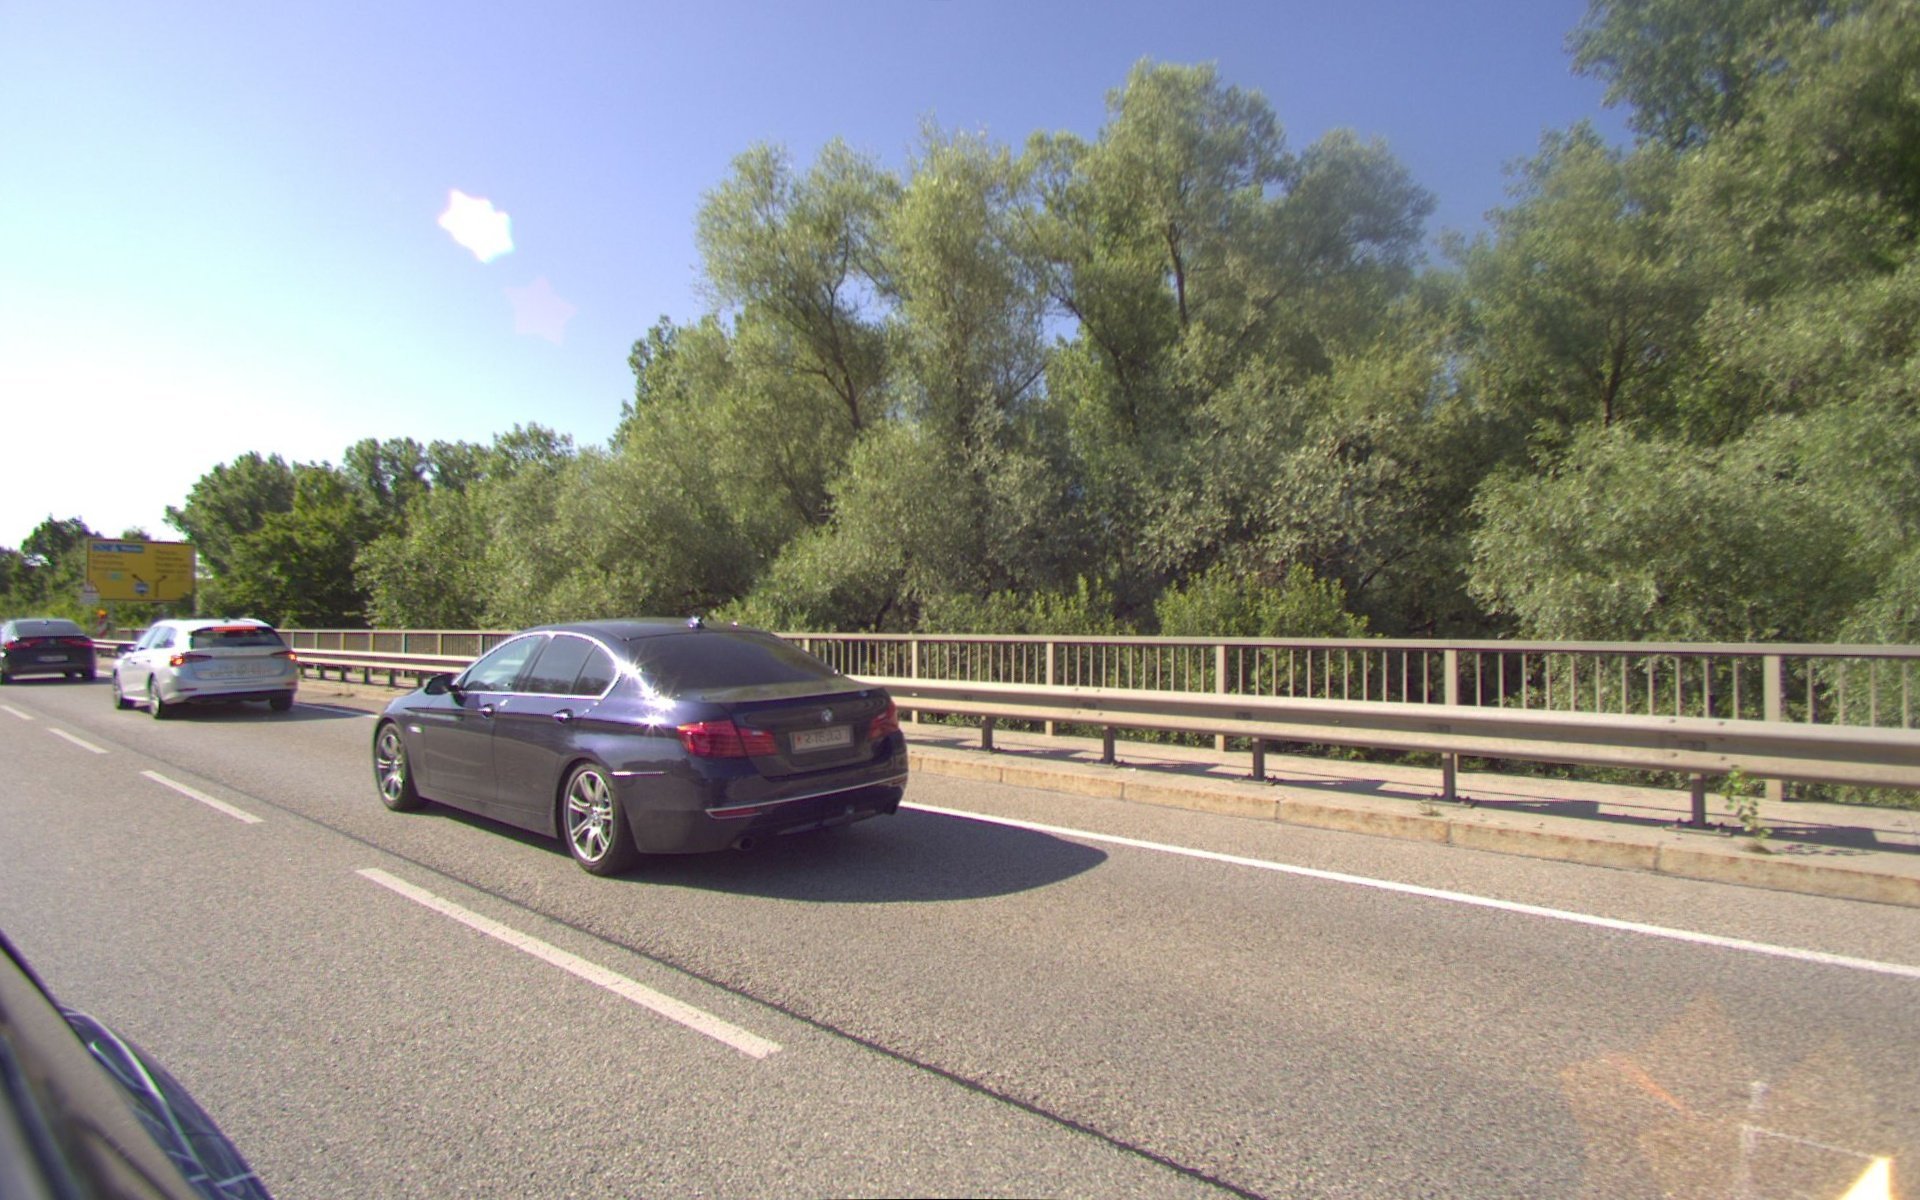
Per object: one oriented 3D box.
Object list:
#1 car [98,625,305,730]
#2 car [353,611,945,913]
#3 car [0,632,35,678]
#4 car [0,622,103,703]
[{"bbox_3d":[-12.239,1.135,16.217,4.484,1.447,1.714,-1,-2,40],"label":"car"},{"bbox_3d":[-2.408,0.822,7.020,4.649,1.431,1.768,-1,-2,41],"label":"car"},{"bbox_3d":[-33.998,1.910,35.446,4.270,1.499,1.869,-1,-1,41],"label":"car"},{"bbox_3d":[-23.036,1.481,25.228,4.529,1.820,1.946,-2,-1,42],"label":"car"}]
